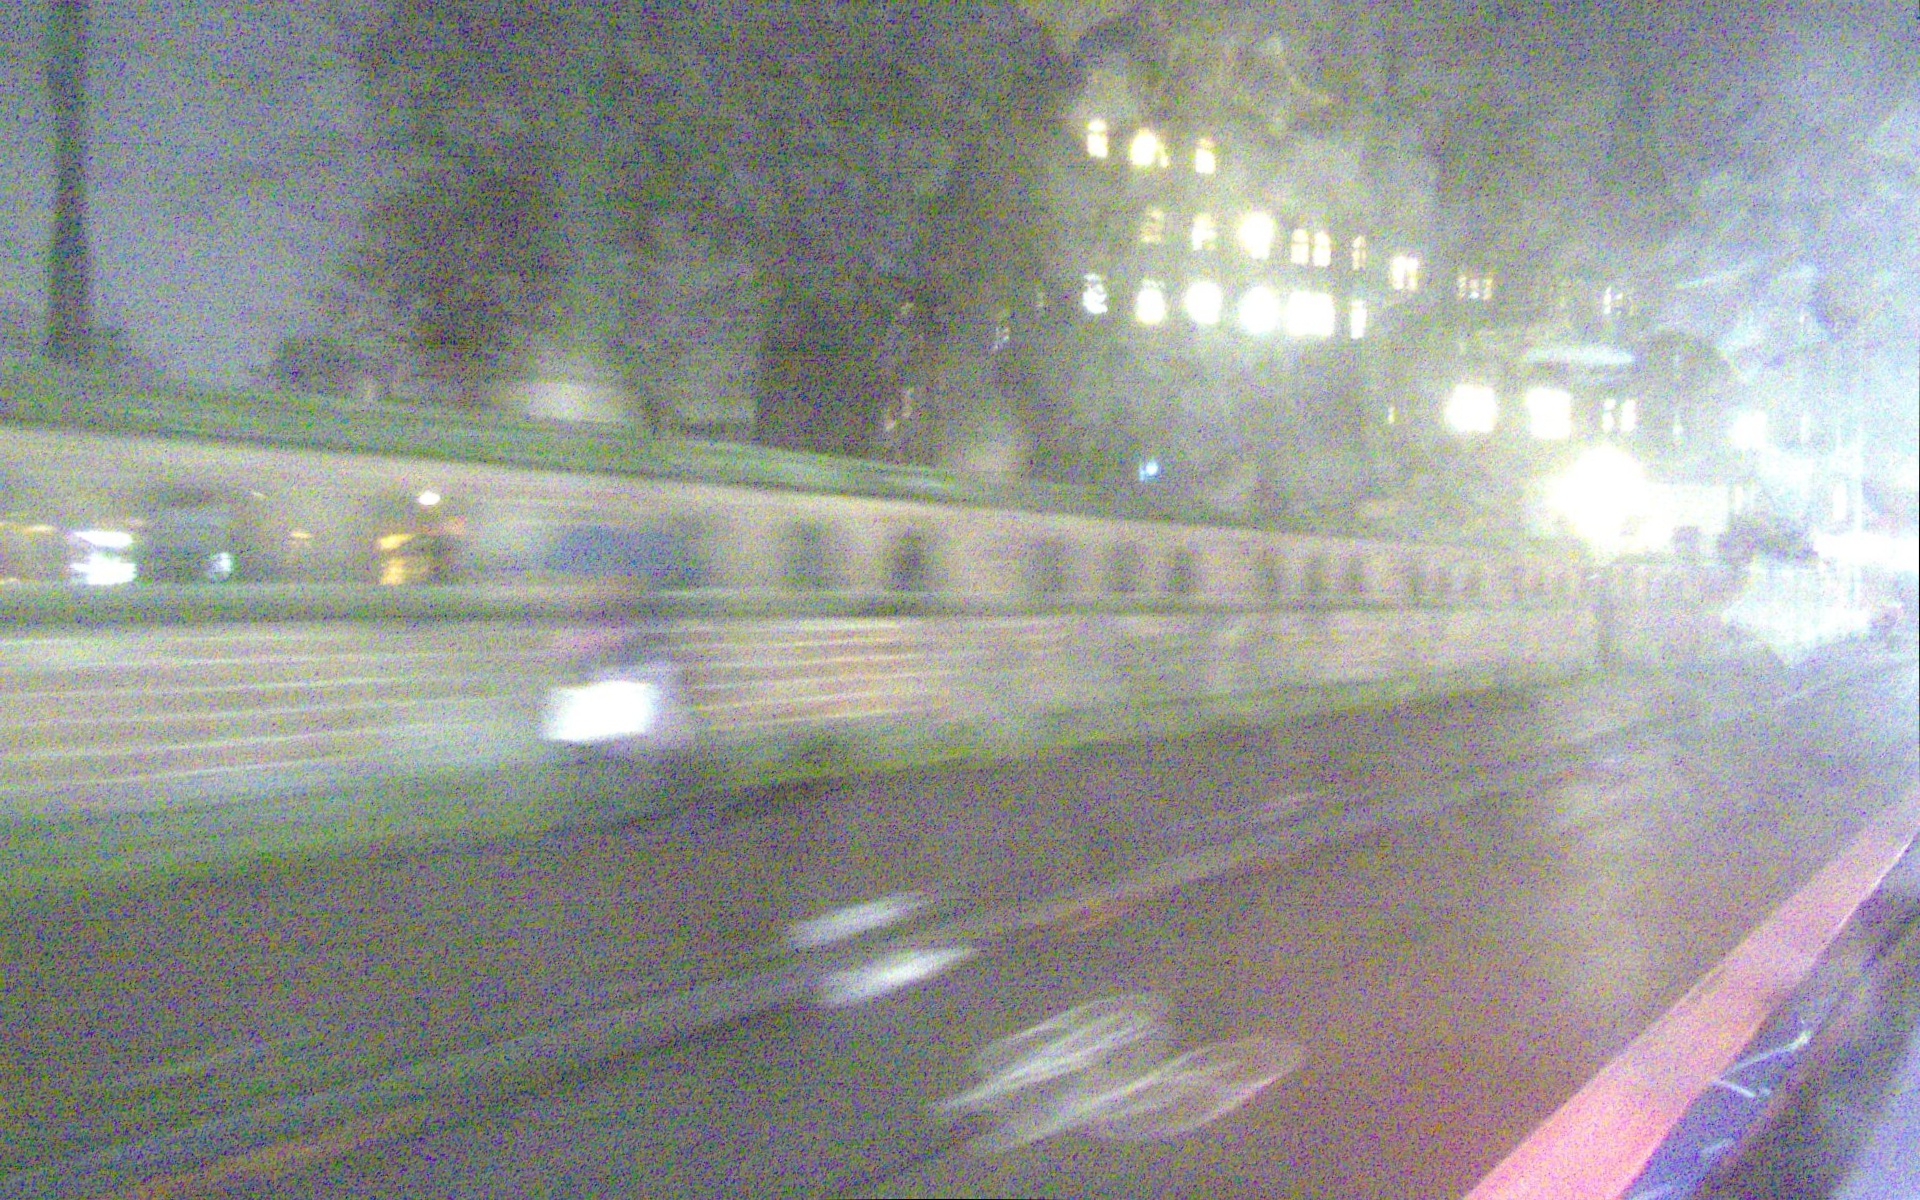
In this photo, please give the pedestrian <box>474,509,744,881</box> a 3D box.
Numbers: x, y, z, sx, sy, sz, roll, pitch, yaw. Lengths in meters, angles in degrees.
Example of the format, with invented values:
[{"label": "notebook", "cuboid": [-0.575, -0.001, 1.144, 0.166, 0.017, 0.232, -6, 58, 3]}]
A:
[{"label": "pedestrian", "cuboid": [-1.825, 0.404, 5.252, 0.978, 1.684, 0.940, 1, 3, -44]}]
